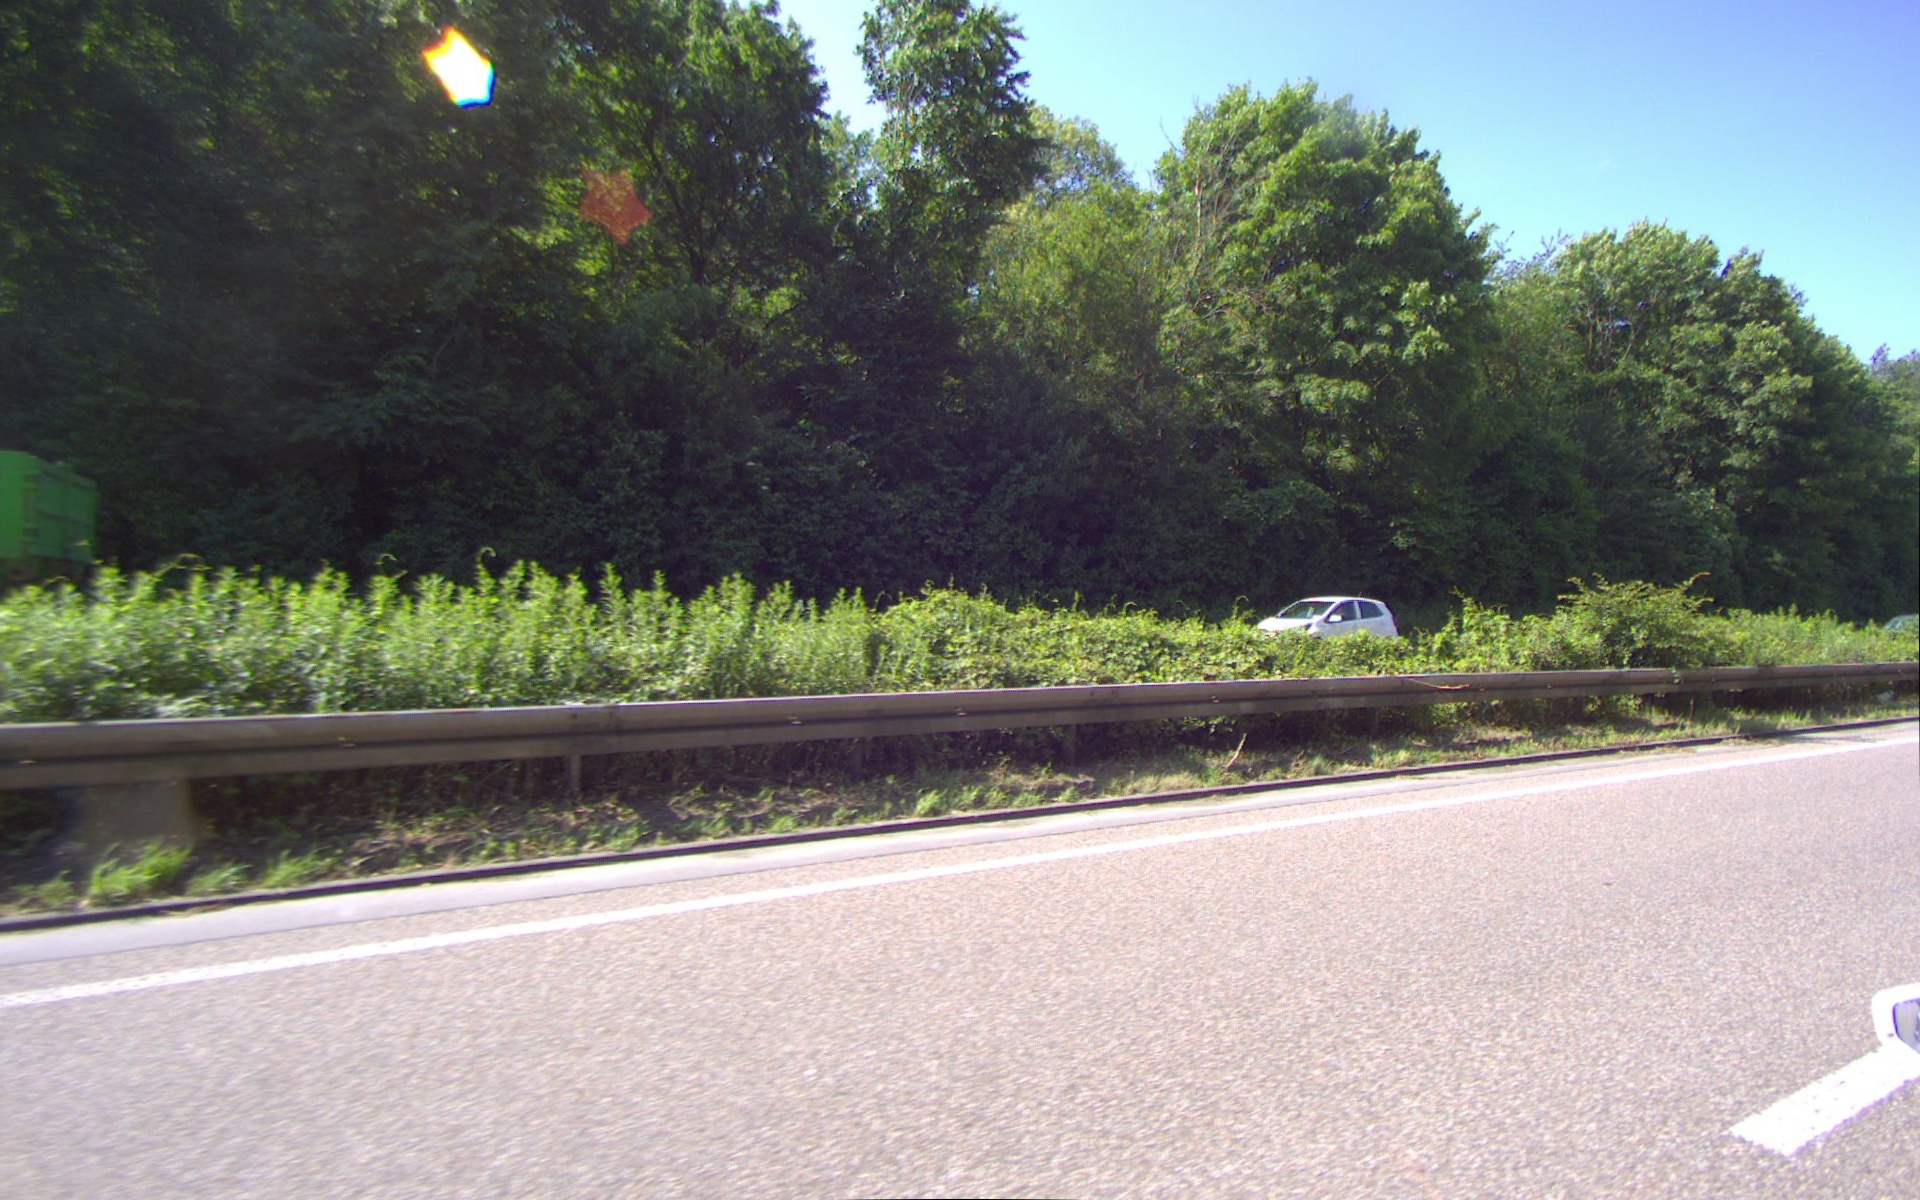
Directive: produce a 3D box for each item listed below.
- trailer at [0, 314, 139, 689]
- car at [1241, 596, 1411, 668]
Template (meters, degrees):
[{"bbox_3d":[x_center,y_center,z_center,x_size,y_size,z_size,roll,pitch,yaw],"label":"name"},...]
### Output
[{"bbox_3d":[-13.183,-1.080,9.559,7.890,3.761,2.675,1,0,-30],"label":"trailer"},{"bbox_3d":[8.301,0.709,22.735,3.579,1.493,1.665,2,0,-29],"label":"car"}]
